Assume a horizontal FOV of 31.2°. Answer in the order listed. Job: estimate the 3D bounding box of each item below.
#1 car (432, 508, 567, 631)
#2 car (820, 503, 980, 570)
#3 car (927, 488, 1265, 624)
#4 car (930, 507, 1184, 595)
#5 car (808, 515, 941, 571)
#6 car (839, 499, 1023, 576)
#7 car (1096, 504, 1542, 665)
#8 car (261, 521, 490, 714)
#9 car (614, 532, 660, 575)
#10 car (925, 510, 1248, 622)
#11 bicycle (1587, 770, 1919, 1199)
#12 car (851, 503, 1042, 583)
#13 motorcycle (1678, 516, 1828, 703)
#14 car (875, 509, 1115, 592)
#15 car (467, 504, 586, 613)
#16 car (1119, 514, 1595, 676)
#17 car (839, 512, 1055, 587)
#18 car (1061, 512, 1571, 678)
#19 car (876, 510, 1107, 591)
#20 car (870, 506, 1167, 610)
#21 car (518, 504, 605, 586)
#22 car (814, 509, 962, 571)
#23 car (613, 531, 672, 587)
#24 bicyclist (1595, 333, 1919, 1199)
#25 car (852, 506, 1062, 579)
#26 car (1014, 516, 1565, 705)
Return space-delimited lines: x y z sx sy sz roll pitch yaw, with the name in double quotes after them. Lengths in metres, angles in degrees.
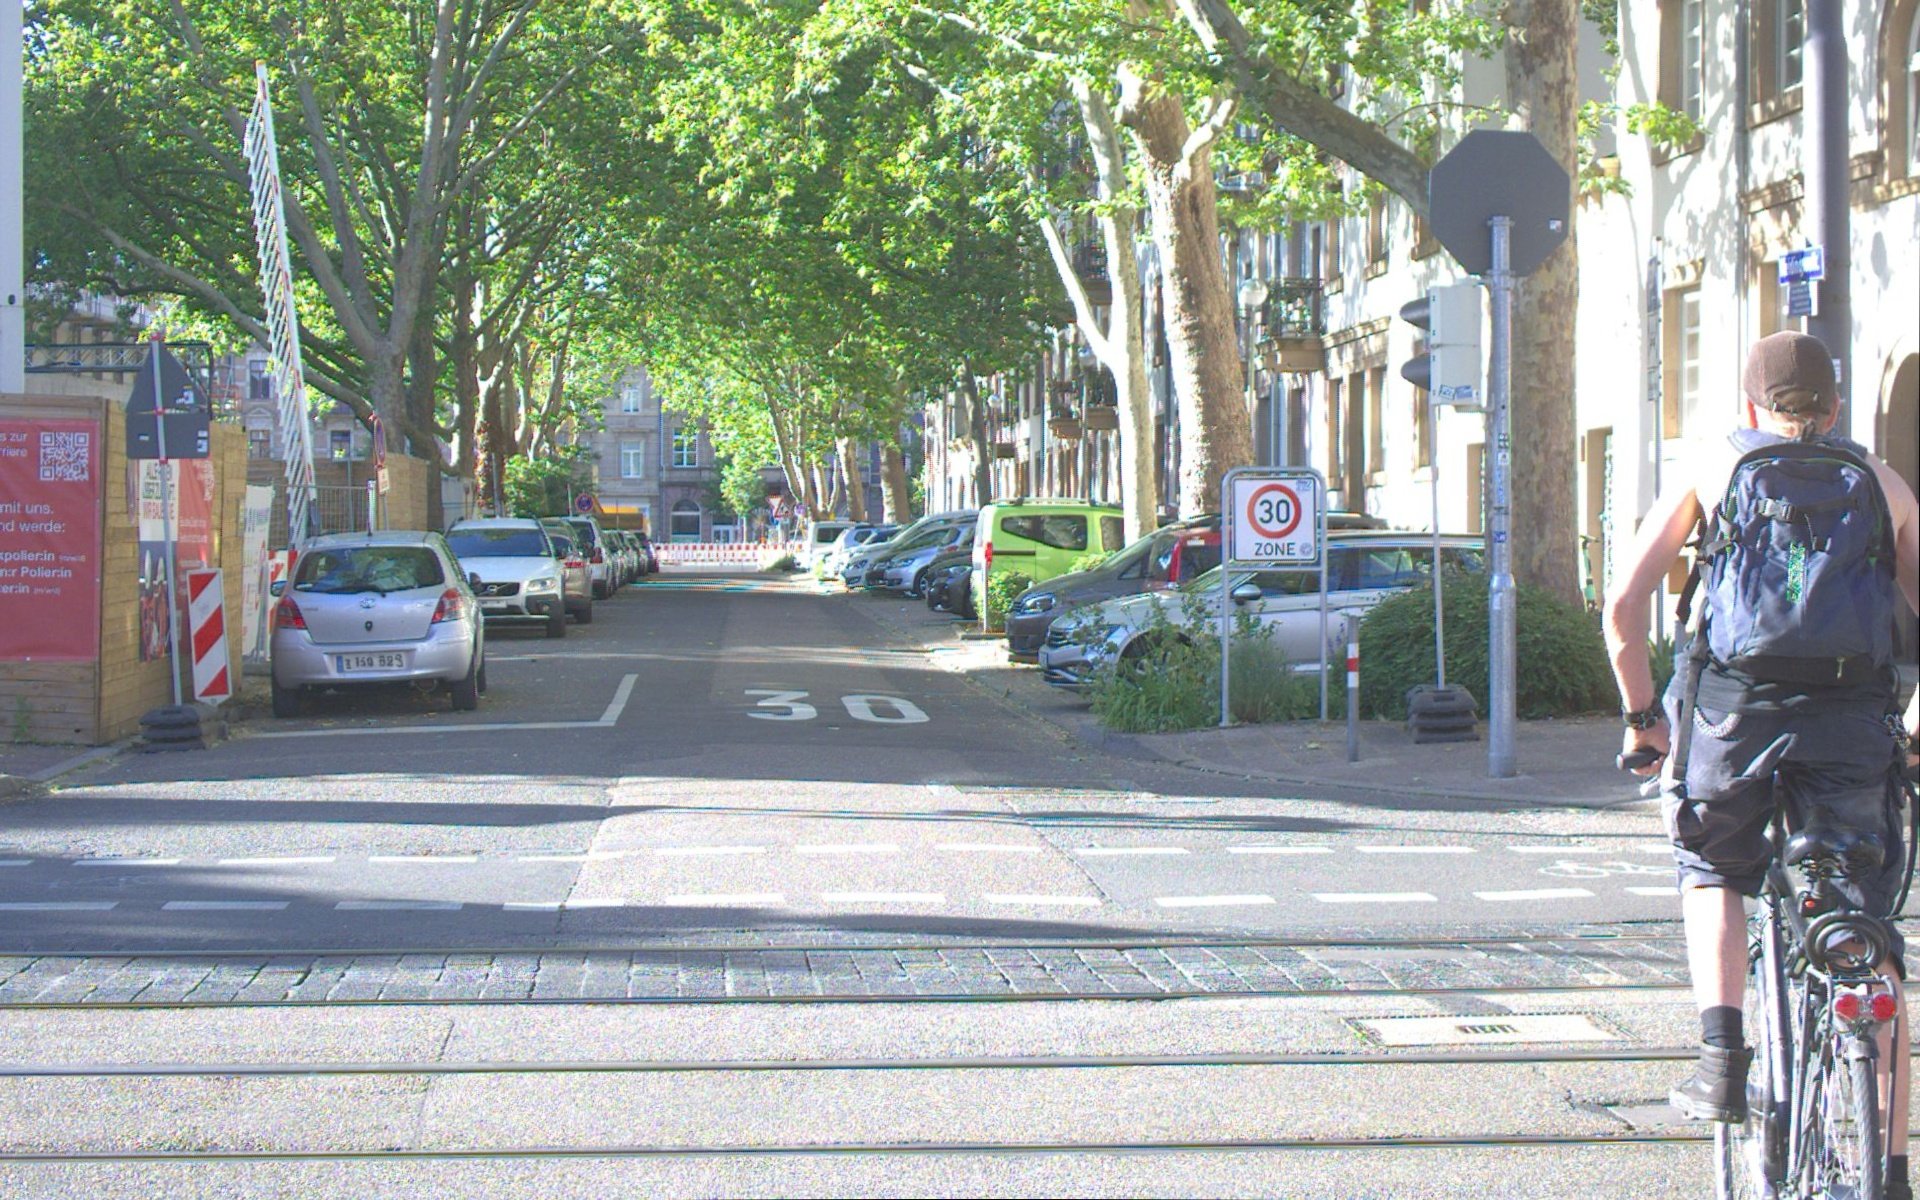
-6.107 -0.437 45.882 1.665 1.557 4.001 0 1 -6 "car"
-1.736 -1.810 98.347 4.461 1.891 1.729 0 1 -5 "car"
1.847 -0.615 47.447 4.461 1.830 1.729 0 1 -5 "car"
1.754 -0.901 62.832 4.461 1.565 1.729 0 1 -5 "car"
-2.932 -1.962 117.921 4.461 1.891 1.729 0 1 -5 "car"
-0.733 -1.557 85.569 4.461 1.891 1.729 0 1 -5 "car"
3.767 -0.178 36.495 4.461 1.665 1.729 0 1 -5 "car"
-4.996 0.092 29.791 1.643 1.489 4.001 -2 2 -6 "car"
-12.116 -1.760 128.842 1.665 1.557 4.220 0 1 -6 "car"
1.791 -0.502 49.468 4.461 1.565 1.729 0 1 -5 "car"
1.522 0.895 6.358 0.690 1.013 1.906 2 1 10 "bicycle"
-0.351 -1.389 82.822 4.461 1.891 1.729 0 1 -5 "car"
5.871 0.047 25.541 0.513 1.328 1.764 0 2 -6 "motorcycle"
0.653 -0.952 65.970 4.461 1.565 1.729 0 1 -5 "car"
-6.468 -0.645 51.573 1.665 1.557 4.520 0 1 -6 "car"
3.928 -0.067 34.416 4.461 1.565 1.729 0 1 -5 "car"
-0.295 -1.083 73.167 4.461 1.565 1.729 0 1 -5 "car"
3.264 -0.059 31.997 4.461 1.495 1.729 0 1 -5 "car"
0.602 -0.991 68.448 4.461 1.565 1.729 0 1 -5 "car"
0.878 -0.658 53.355 4.461 1.565 1.729 0 1 -5 "car"
-7.884 -1.114 68.266 1.665 1.557 4.617 0 1 -6 "car"
-2.233 -1.850 105.764 4.461 1.891 1.729 0 1 -5 "car"
-9.136 -1.200 98.745 1.665 1.557 4.220 0 1 -6 "car"
1.535 0.291 6.317 0.676 1.507 0.668 2 1 10 "bicyclist"
-0.083 -1.260 75.503 4.461 1.565 1.729 0 1 -5 "car"
2.772 0.073 29.504 4.461 1.565 1.729 0 1 -5 "car"
